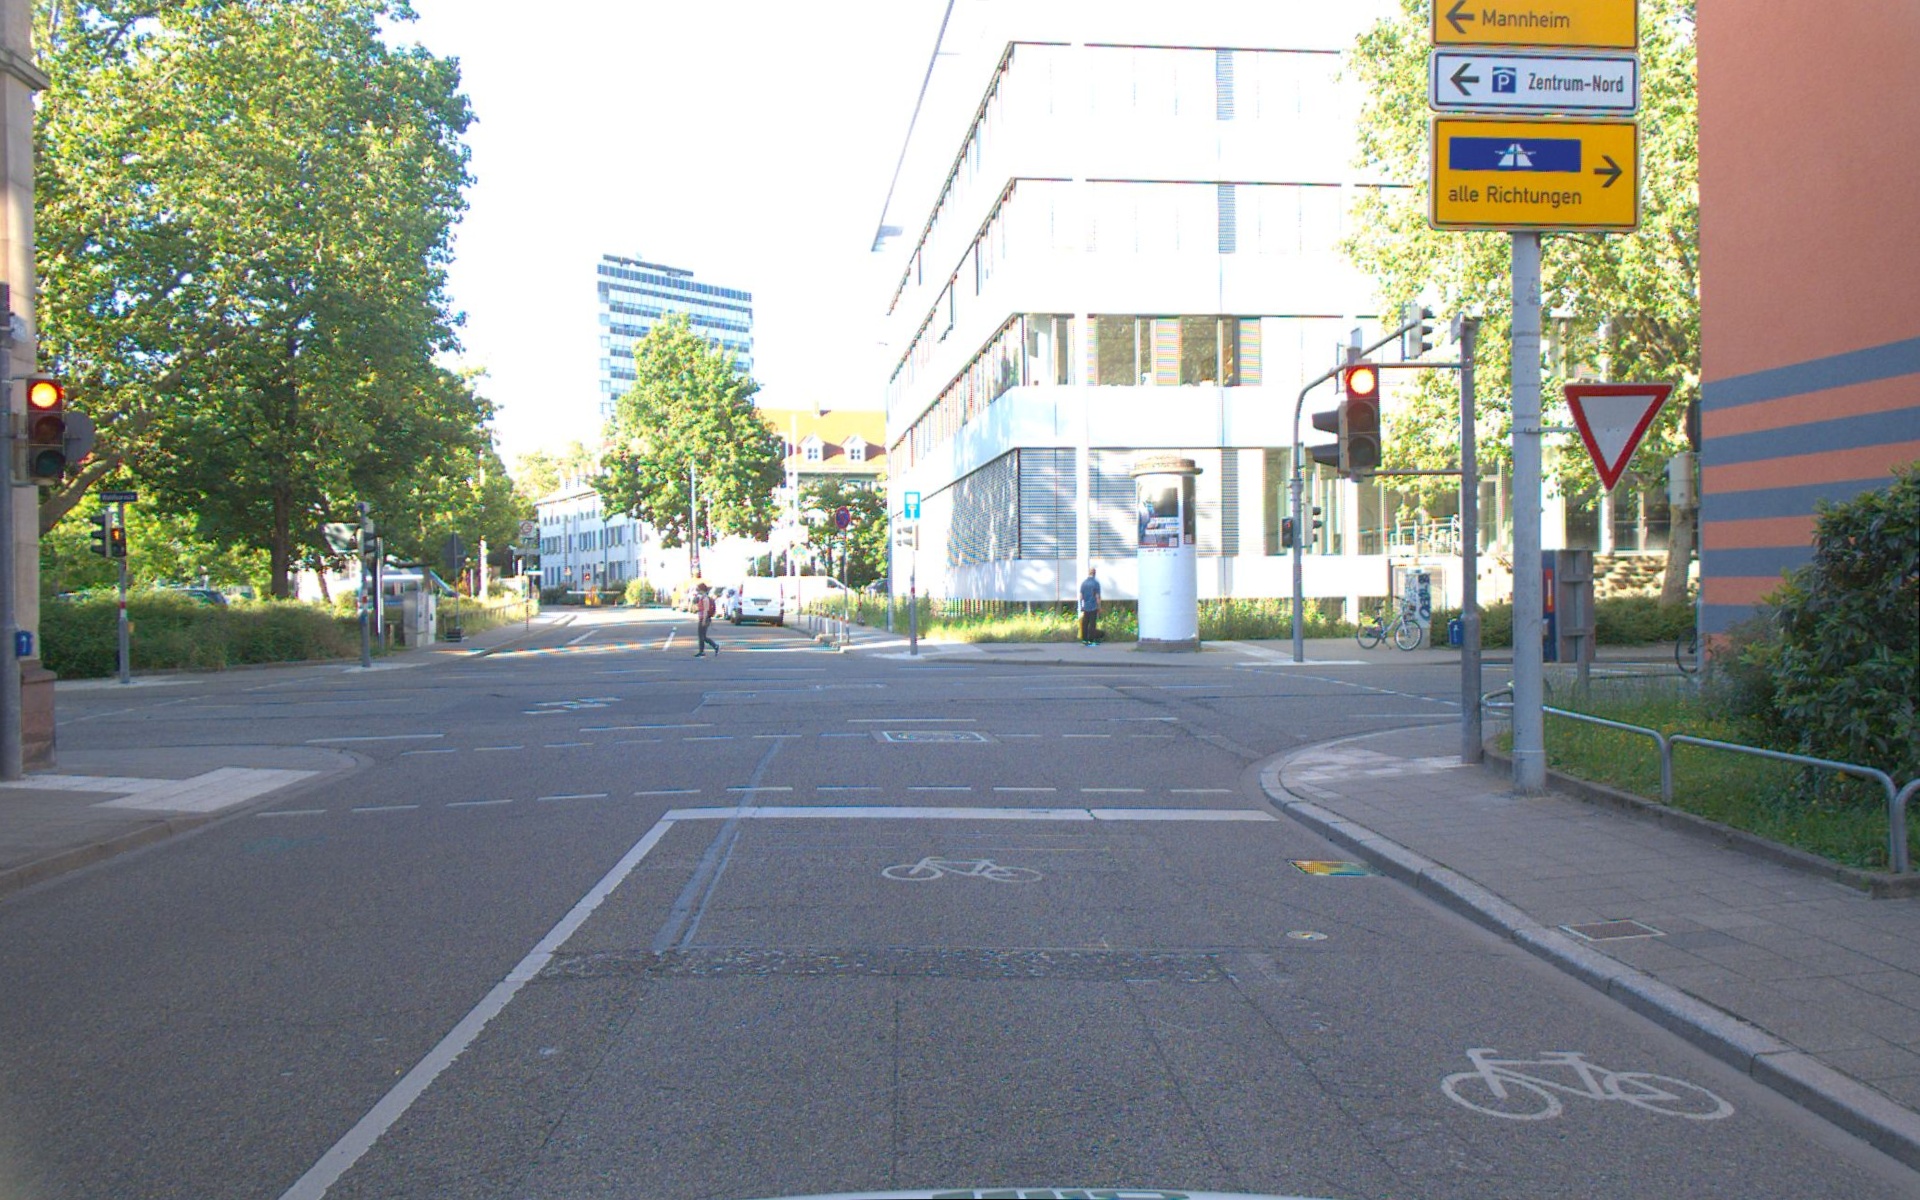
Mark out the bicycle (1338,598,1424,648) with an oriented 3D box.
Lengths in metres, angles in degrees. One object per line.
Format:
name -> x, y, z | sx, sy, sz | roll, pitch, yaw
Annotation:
bicycle -> 9.219, 0.497, 36.267 | 0.460, 1.067, 1.886 | -1, 1, -42

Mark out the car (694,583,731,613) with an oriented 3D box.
car -> -12.861, -0.139, 85.657 | 1.674, 1.489, 4.226 | -1, 1, -11

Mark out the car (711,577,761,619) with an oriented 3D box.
car -> -10.362, -0.112, 76.418 | 1.913, 1.826, 4.224 | -1, 1, -13

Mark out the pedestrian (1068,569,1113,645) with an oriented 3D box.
pedestrian -> 3.069, 0.159, 38.881 | 0.798, 1.766, 0.650 | -1, 0, 45

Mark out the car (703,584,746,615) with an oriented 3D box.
car -> -11.580, -0.025, 81.196 | 1.675, 1.449, 4.223 | -1, 1, -14

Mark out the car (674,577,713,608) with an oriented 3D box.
car -> -15.392, -0.448, 95.441 | 2.063, 1.687, 4.463 | -1, 1, -11

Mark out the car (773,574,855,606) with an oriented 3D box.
car -> -9.059, -0.597, 102.732 | 4.804, 1.905, 1.990 | 0, 0, -17

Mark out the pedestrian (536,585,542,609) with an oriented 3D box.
pedestrian -> -27.783, -0.179, 109.106 | 0.373, 1.561, 0.444 | -1, 0, -13

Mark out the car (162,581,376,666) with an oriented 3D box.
car -> -15.769, 0.509, 37.920 | 4.146, 1.808, 1.901 | -1, 0, -9

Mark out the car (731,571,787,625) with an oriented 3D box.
car -> -7.870, -0.085, 64.538 | 2.029, 1.997, 4.229 | -1, 1, -9

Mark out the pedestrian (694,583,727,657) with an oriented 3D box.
pedestrian -> -5.529, 0.438, 36.660 | 0.698, 1.627, 0.616 | -1, 0, -8
